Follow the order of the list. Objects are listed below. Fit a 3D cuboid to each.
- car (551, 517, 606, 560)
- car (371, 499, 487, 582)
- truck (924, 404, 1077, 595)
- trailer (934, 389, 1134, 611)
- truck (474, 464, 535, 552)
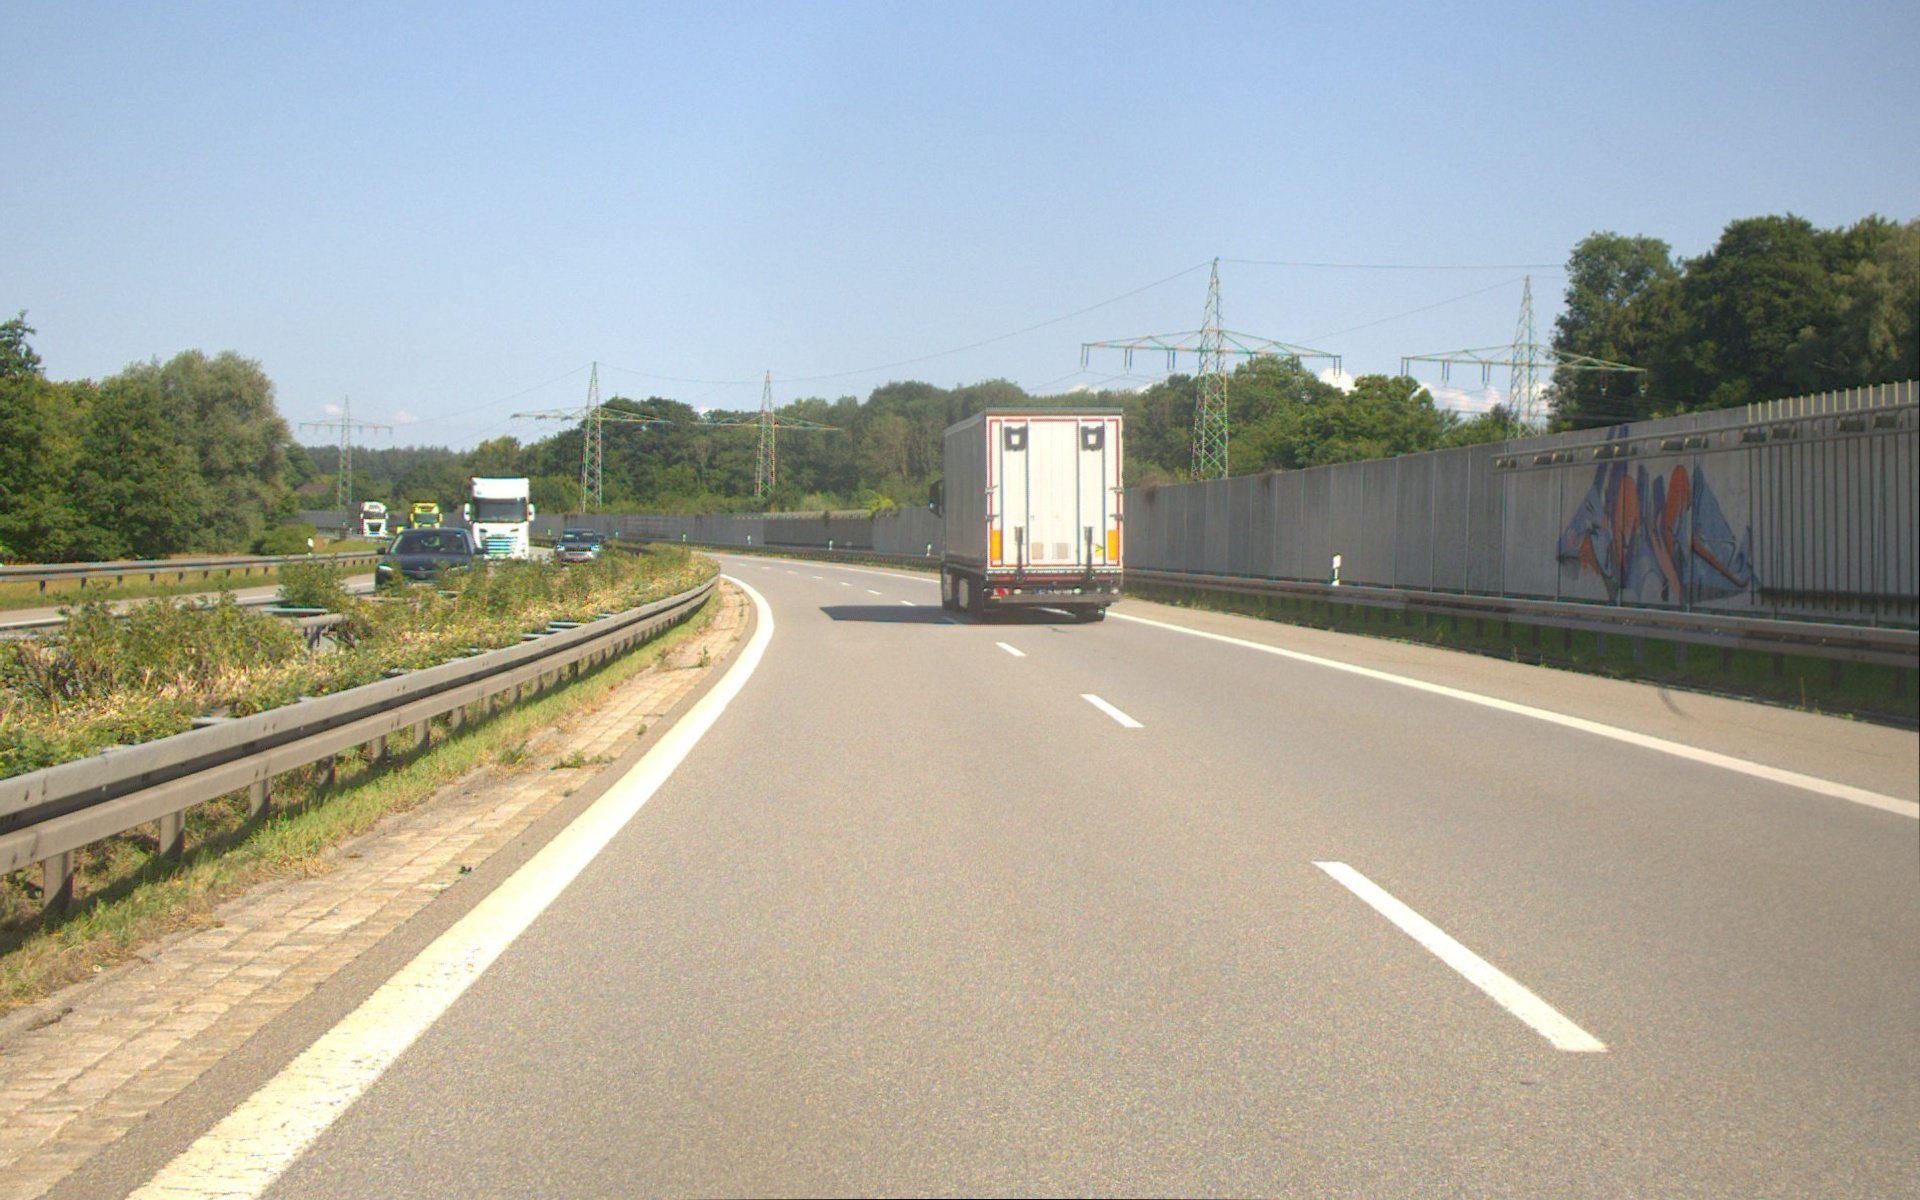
[{"bbox_3d":[-14.571,-2.340,131.534,1.842,1.601,4.001,0,1,-3],"label":"car"},{"bbox_3d":[-9.612,-1.088,62.444,1.659,1.445,4.247,-1,1,-3],"label":"car"},{"bbox_3d":[0.815,-2.156,75.441,2.830,3.998,6.588,0,1,-4],"label":"truck"},{"bbox_3d":[1.313,-1.932,69.330,2.884,4.052,12.422,0,1,-4],"label":"trailer"},{"bbox_3d":[-20.294,-4.048,153.044,2.624,3.826,6.812,0,1,-8],"label":"truck"}]
